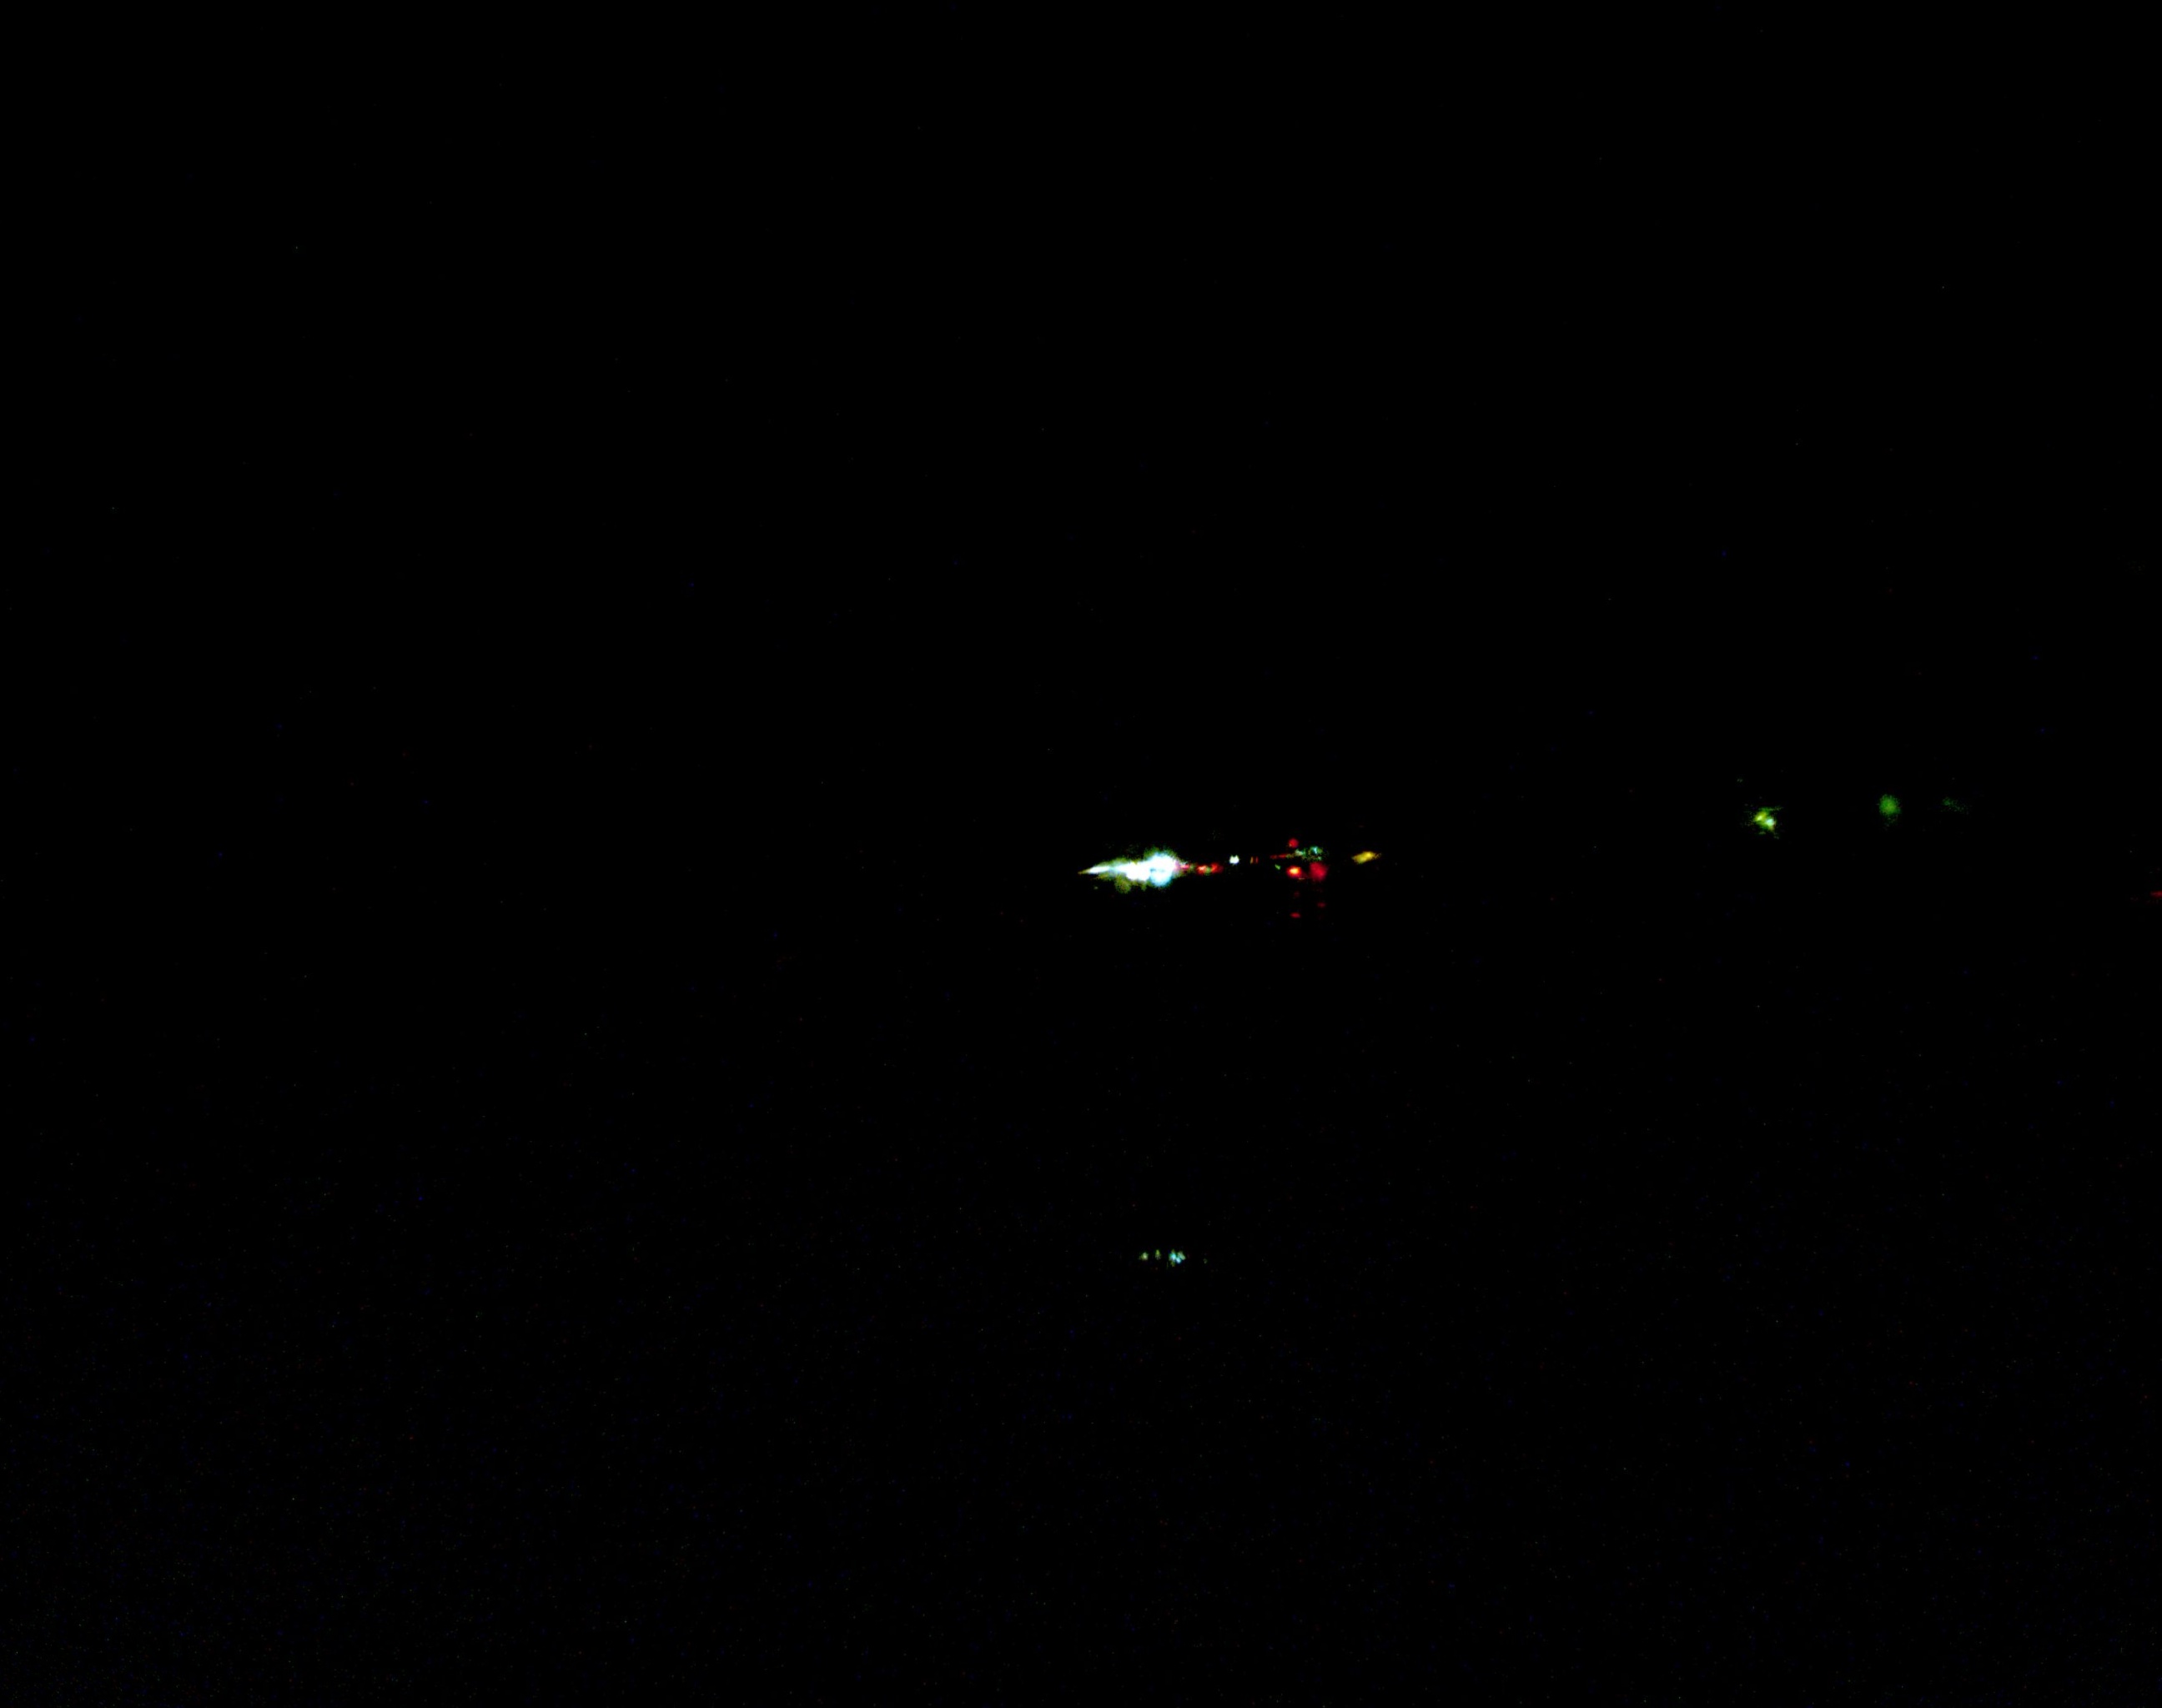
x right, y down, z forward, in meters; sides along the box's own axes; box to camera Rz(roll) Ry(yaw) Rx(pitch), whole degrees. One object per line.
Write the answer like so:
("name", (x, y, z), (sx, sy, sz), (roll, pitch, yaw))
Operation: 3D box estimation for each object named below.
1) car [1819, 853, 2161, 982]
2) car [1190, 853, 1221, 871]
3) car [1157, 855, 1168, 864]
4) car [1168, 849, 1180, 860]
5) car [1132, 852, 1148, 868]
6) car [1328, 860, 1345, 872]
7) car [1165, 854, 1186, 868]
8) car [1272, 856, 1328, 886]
("car", (12.794, 0.702, 10.025), (1.881, 1.389, 4.248), (-1, 0, -3))
("car", (11.068, 0.696, 67.632), (1.837, 1.433, 4.489), (-2, 0, -2))
("car", (15.832, 1.012, 147.761), (1.997, 1.721, 4.002), (-2, 0, 8))
("car", (14.891, 0.099, 122.034), (1.885, 1.591, 3.902), (-2, 0, 7))
("car", (7.859, 0.827, 101.450), (1.998, 2.002, 4.001), (-2, 0, 5))
("car", (45.993, 2.177, 136.890), (1.997, 2.002, 4.002), (-2, 0, 7))
("car", (12.031, 0.846, 97.121), (2.203, 1.735, 4.525), (-2, 0, 2))
("car", (11.414, 0.863, 39.840), (1.795, 1.433, 3.855), (-2, 0, -1))
